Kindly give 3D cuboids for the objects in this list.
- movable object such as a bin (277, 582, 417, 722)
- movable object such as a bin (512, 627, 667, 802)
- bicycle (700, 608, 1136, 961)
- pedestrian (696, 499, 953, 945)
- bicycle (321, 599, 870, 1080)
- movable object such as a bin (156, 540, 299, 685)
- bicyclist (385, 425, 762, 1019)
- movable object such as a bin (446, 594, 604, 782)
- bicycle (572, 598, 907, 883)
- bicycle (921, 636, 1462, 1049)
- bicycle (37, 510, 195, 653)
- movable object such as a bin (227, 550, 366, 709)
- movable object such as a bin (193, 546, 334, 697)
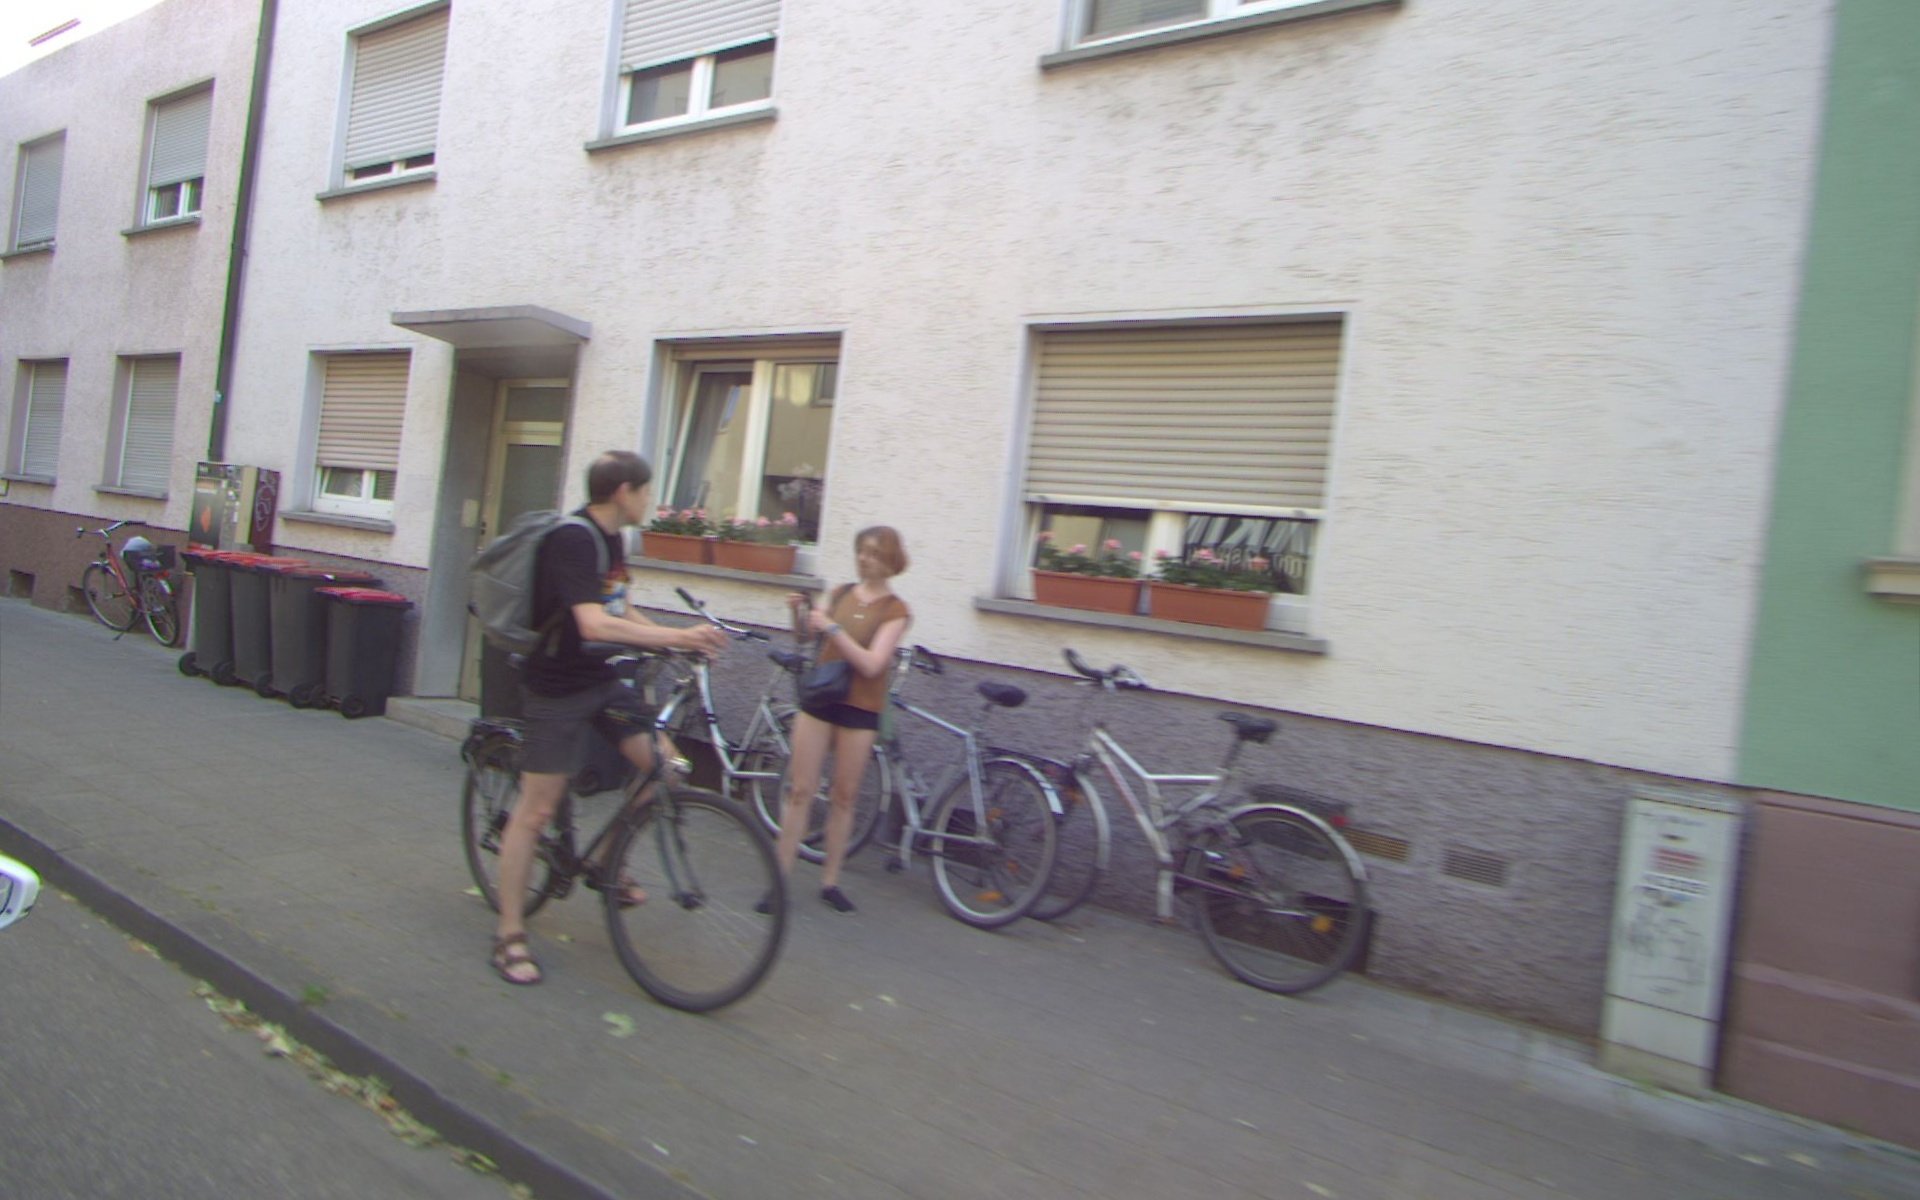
[{"bbox_3d":[-4.571,0.387,7.512,0.595,0.946,0.606,7,0,32],"label":"movable object such as a bin"},{"bbox_3d":[-2.252,0.668,6.124,0.597,0.937,0.577,7,2,31],"label":"movable object such as a bin"},{"bbox_3d":[-0.314,0.755,4.843,2.232,1.221,0.437,6,0,38],"label":"bicycle"},{"bbox_3d":[-0.585,0.479,4.352,0.677,1.732,0.653,6,0,43],"label":"pedestrian"},{"bbox_3d":[-1.367,0.693,3.610,1.954,1.152,0.663,8,3,29],"label":"bicycle"},{"bbox_3d":[-6.087,0.104,8.368,0.629,1.112,0.739,6,2,32],"label":"movable object such as a bin"},{"bbox_3d":[-1.356,0.361,3.574,0.808,1.794,0.760,8,3,29],"label":"bicyclist"},{"bbox_3d":[-2.766,0.541,6.413,0.593,1.076,0.616,7,2,31],"label":"movable object such as a bin"},{"bbox_3d":[-1.232,0.669,5.389,1.839,1.167,0.569,6,0,36],"label":"bicycle"},{"bbox_3d":[0.865,0.880,4.266,2.125,1.221,0.405,6,0,35],"label":"bicycle"},{"bbox_3d":[-8.343,-0.208,9.914,2.041,1.187,0.536,7,4,31],"label":"bicycle"},{"bbox_3d":[-5.123,0.236,7.779,0.560,1.136,0.628,6,0,32],"label":"movable object such as a bin"},{"bbox_3d":[-5.585,0.183,8.077,0.583,1.118,0.657,7,0,32],"label":"movable object such as a bin"}]
